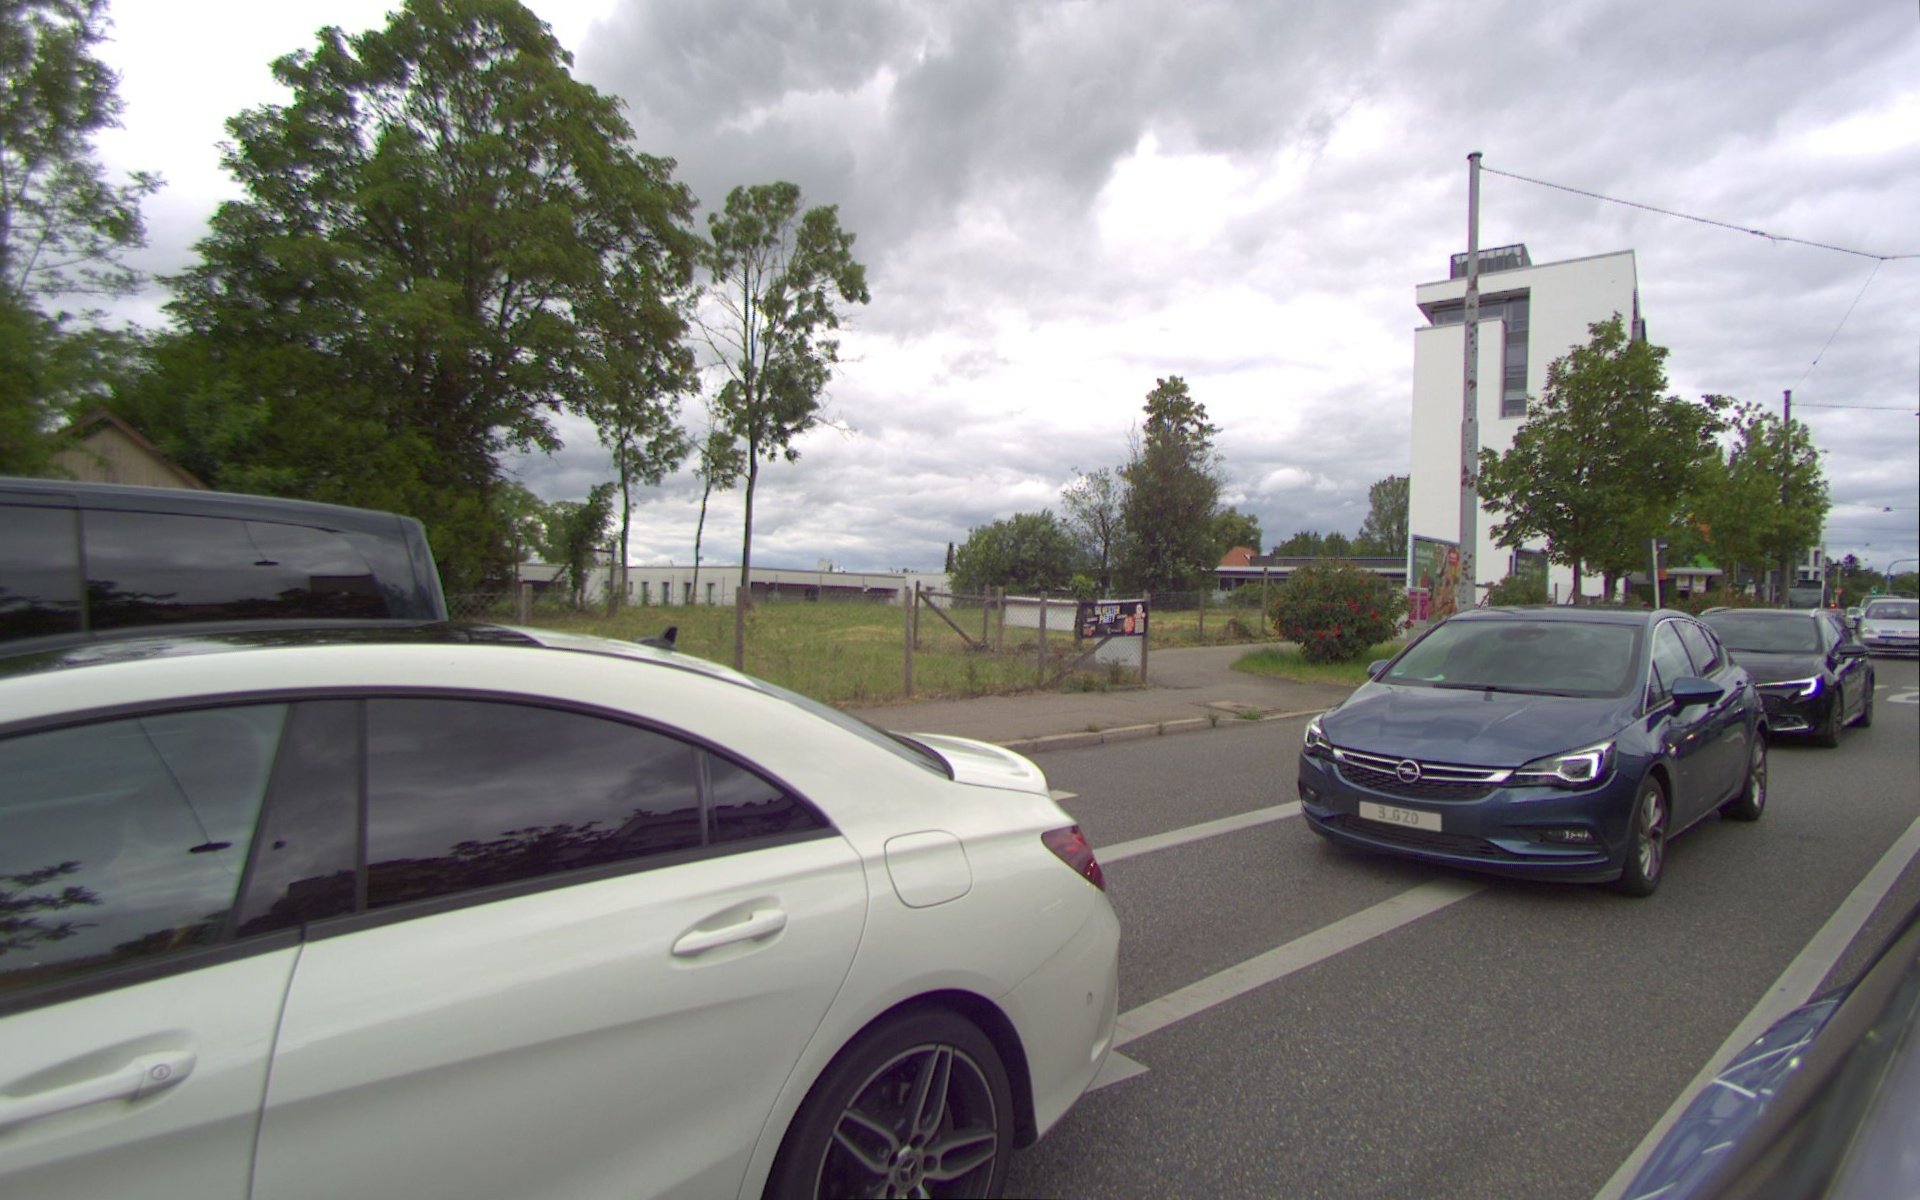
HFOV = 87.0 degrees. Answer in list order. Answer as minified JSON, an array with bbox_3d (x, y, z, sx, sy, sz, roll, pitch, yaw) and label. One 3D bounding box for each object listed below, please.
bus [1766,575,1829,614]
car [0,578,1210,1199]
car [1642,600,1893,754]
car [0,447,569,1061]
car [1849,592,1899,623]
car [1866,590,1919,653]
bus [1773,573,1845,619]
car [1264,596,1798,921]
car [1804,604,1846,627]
[{"bbox_3d":[61.438,-0.441,74.463,2.952,2.664,12.751,0,1,37],"label":"bus"},{"bbox_3d":[-1.530,0.697,1.812,4.300,1.451,1.652,0,1,-41],"label":"car"},{"bbox_3d":[9.453,0.748,11.748,3.854,1.475,1.663,0,0,-42],"label":"car"},{"bbox_3d":[-3.999,0.474,3.430,4.627,1.863,1.952,0,-1,-41],"label":"car"},{"bbox_3d":[56.849,0.423,62.997,1.990,1.844,3.945,2,2,38],"label":"car"},{"bbox_3d":[26.450,0.558,27.831,3.717,1.637,1.849,0,-1,-41],"label":"car"},{"bbox_3d":[53.970,-0.307,64.564,2.952,2.664,11.986,0,1,37],"label":"bus"},{"bbox_3d":[3.818,0.693,6.478,3.931,1.428,1.825,0,0,-42],"label":"car"},{"bbox_3d":[67.000,1.206,78.423,1.986,1.621,3.952,2,1,34],"label":"car"}]
